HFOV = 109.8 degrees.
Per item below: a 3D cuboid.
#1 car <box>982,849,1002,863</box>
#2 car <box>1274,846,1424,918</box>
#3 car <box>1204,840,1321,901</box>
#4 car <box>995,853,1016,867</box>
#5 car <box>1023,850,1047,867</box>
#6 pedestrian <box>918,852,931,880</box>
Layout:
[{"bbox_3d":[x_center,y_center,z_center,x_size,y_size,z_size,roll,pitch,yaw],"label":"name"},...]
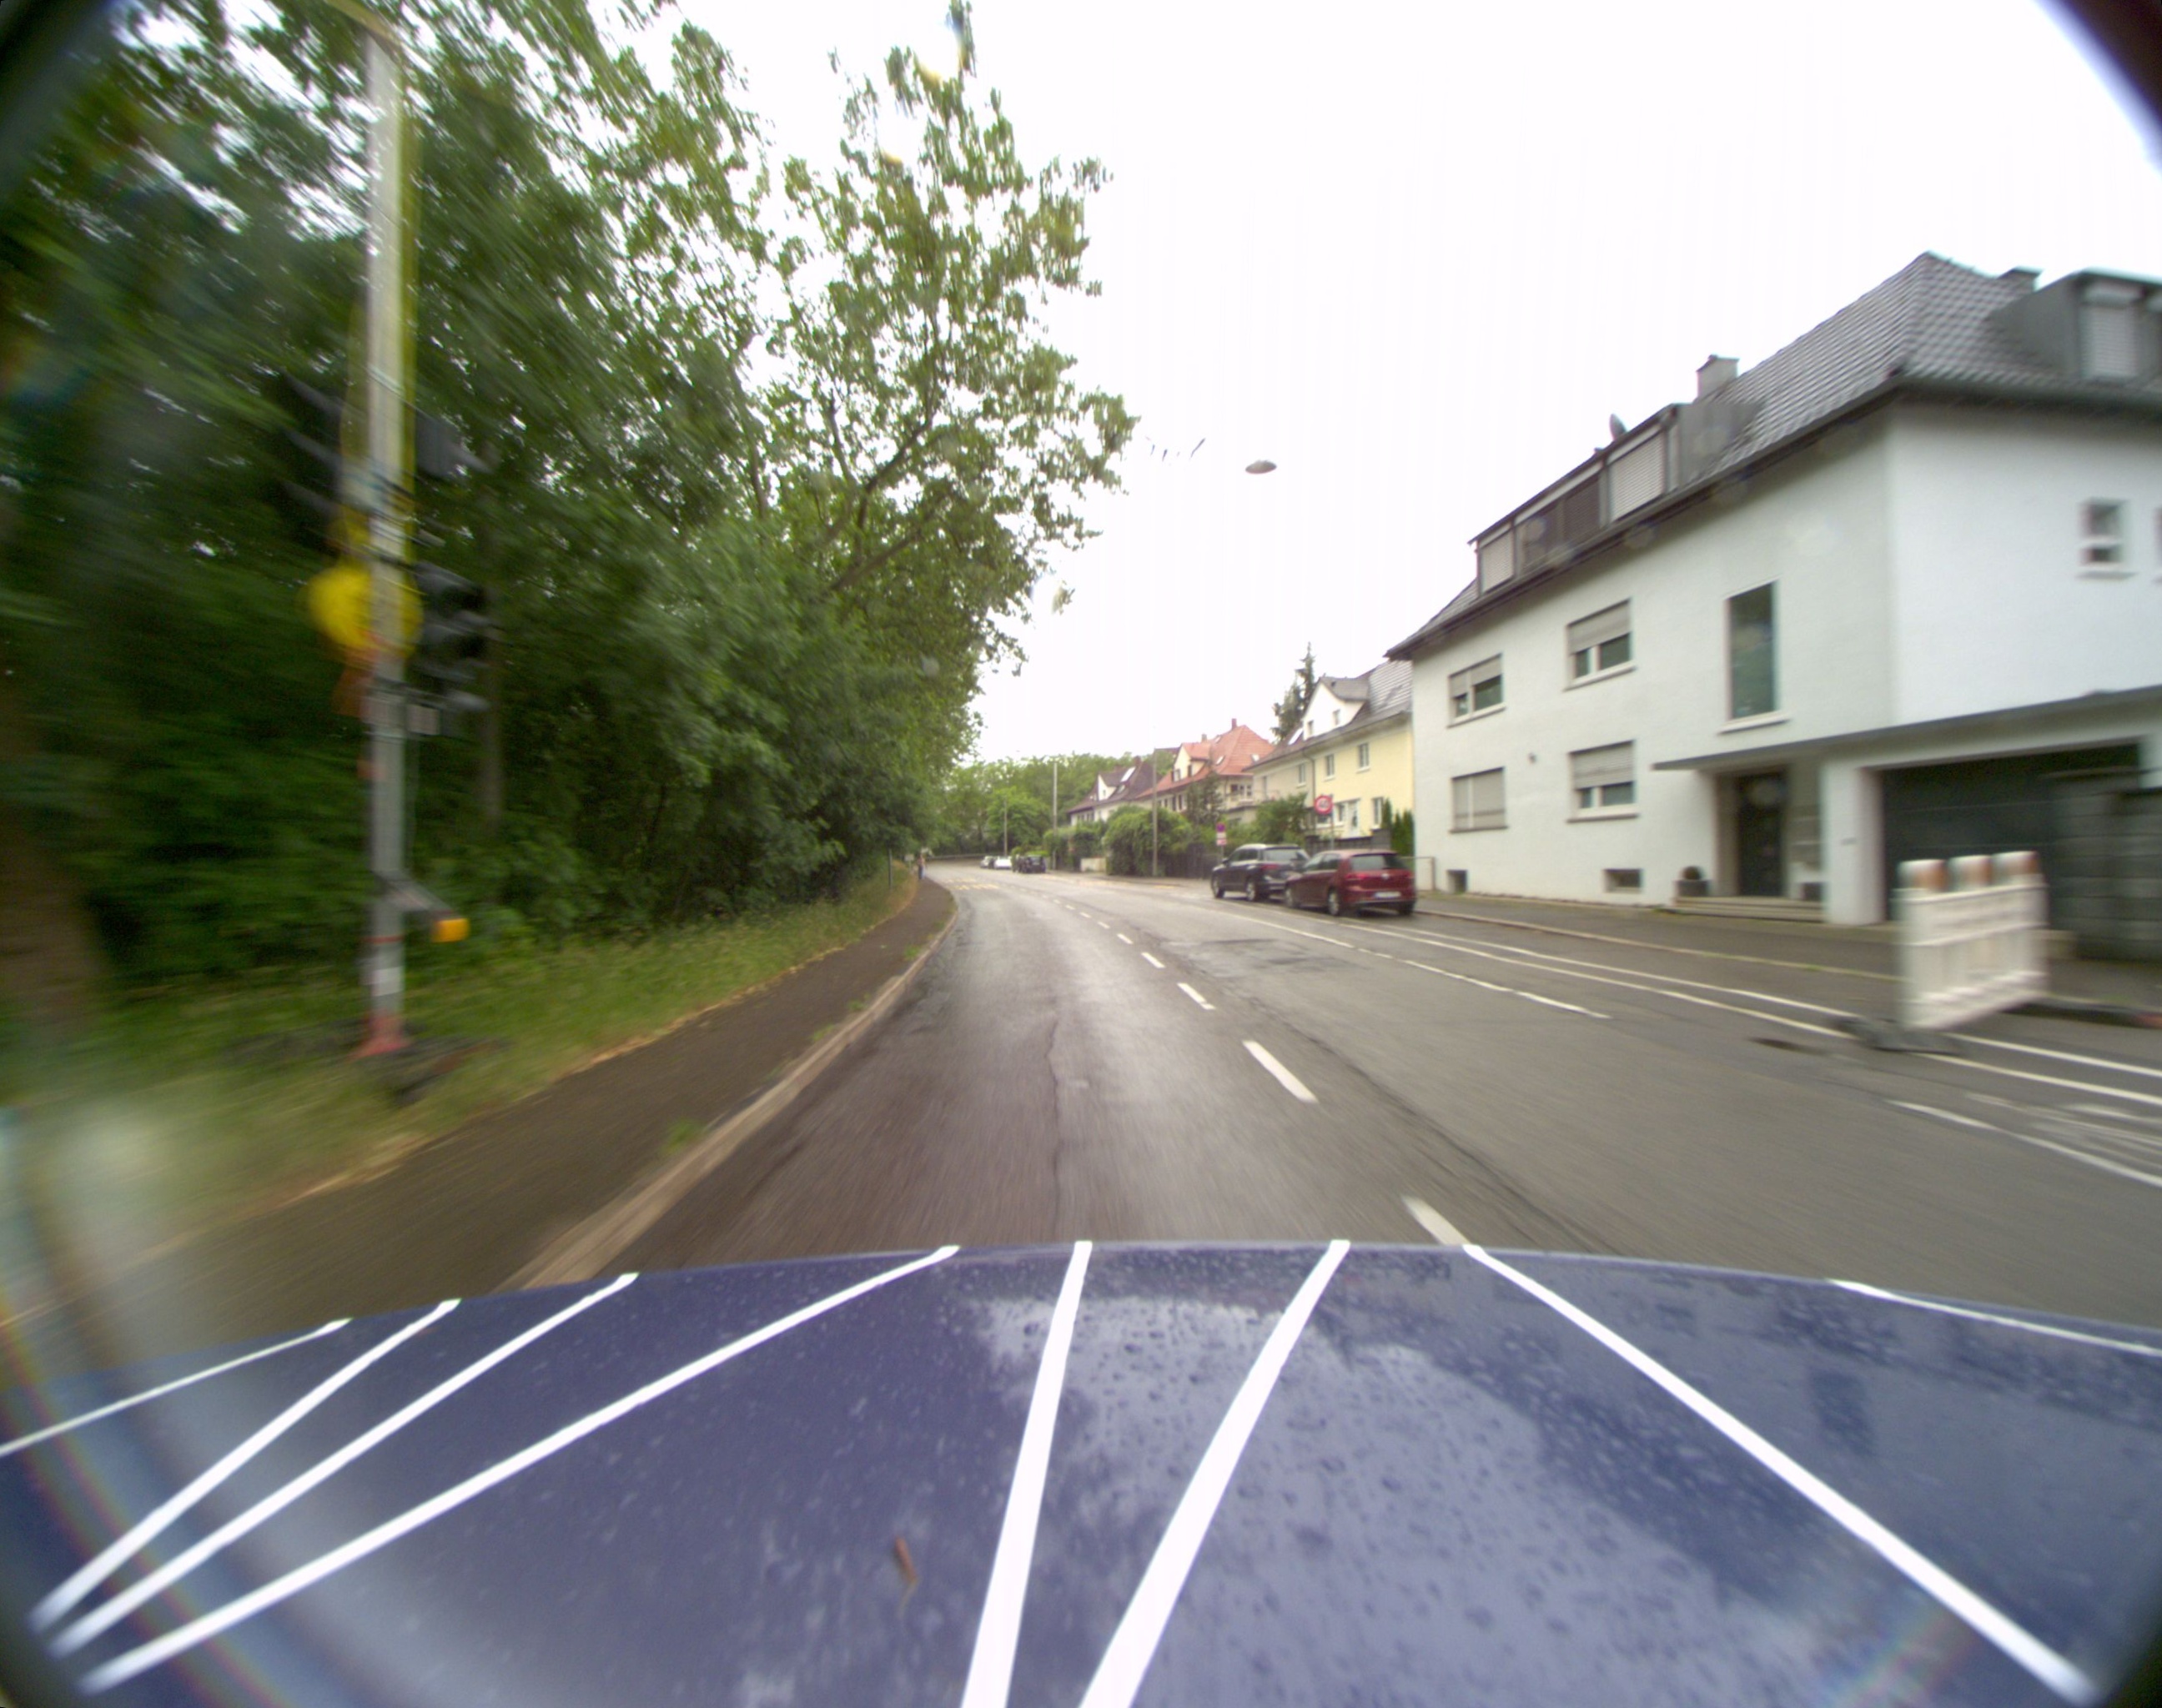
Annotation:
[{"bbox_3d":[-10.904,0.248,92.715,1.739,1.414,4.276,-6,4,-13],"label":"car"},{"bbox_3d":[6.083,0.589,17.807,1.621,1.432,4.228,-2,0,-6],"label":"car"},{"bbox_3d":[5.336,0.446,22.990,1.760,1.649,4.400,0,0,-12],"label":"car"},{"bbox_3d":[-8.233,0.666,82.927,1.704,1.459,3.706,-2,1,-15],"label":"car"},{"bbox_3d":[-3.880,0.372,63.921,1.525,1.445,3.026,0,0,-13],"label":"car"},{"bbox_3d":[-9.327,0.712,45.250,0.644,1.602,0.669,-2,2,-15],"label":"pedestrian"}]
